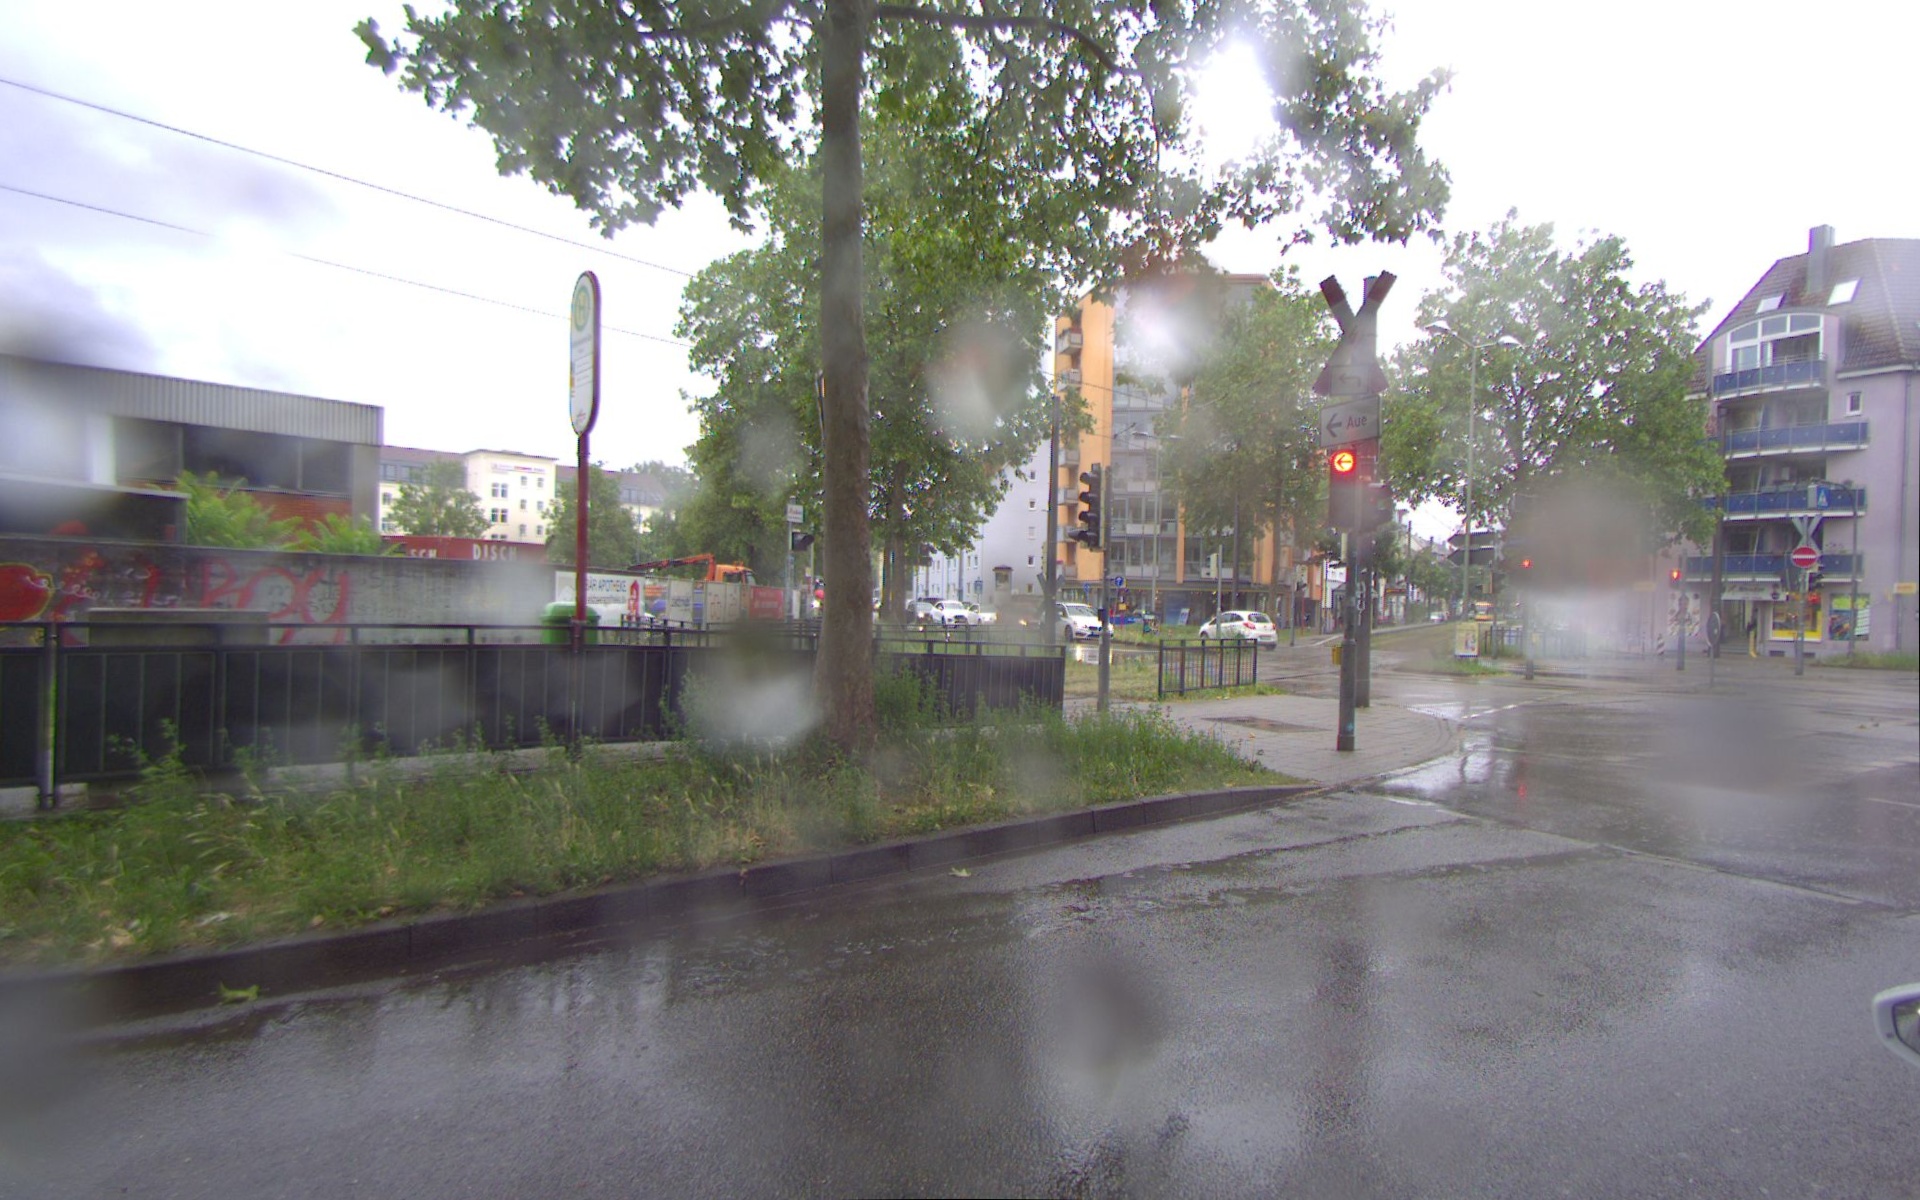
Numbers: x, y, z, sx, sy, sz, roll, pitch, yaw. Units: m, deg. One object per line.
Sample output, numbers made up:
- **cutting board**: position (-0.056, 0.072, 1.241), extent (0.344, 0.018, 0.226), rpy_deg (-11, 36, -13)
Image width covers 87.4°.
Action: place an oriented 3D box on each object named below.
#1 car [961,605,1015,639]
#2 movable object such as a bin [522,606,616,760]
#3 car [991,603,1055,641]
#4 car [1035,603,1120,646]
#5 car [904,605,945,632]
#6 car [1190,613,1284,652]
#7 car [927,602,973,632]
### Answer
- **car**: position (1.419, 1.152, 52.479), extent (1.697, 1.661, 3.780), rpy_deg (1, -1, -17)
- **movable object such as a bin**: position (-2.939, 0.603, 7.564), extent (0.412, 1.104, 0.528), rpy_deg (0, -1, 44)
- **car**: position (2.838, 0.996, 46.224), extent (1.697, 1.661, 3.780), rpy_deg (1, -1, -17)
- **car**: position (4.673, 0.988, 40.521), extent (1.941, 1.673, 4.004), rpy_deg (1, -1, -17)
- **car**: position (-2.288, 1.178, 64.493), extent (1.697, 1.661, 3.780), rpy_deg (1, -1, -17)
- **car**: position (10.998, 1.279, 40.089), extent (1.701, 1.505, 3.631), rpy_deg (1, -1, -24)
- **car**: position (-0.610, 0.984, 58.333), extent (1.697, 1.661, 3.780), rpy_deg (1, -1, -17)
